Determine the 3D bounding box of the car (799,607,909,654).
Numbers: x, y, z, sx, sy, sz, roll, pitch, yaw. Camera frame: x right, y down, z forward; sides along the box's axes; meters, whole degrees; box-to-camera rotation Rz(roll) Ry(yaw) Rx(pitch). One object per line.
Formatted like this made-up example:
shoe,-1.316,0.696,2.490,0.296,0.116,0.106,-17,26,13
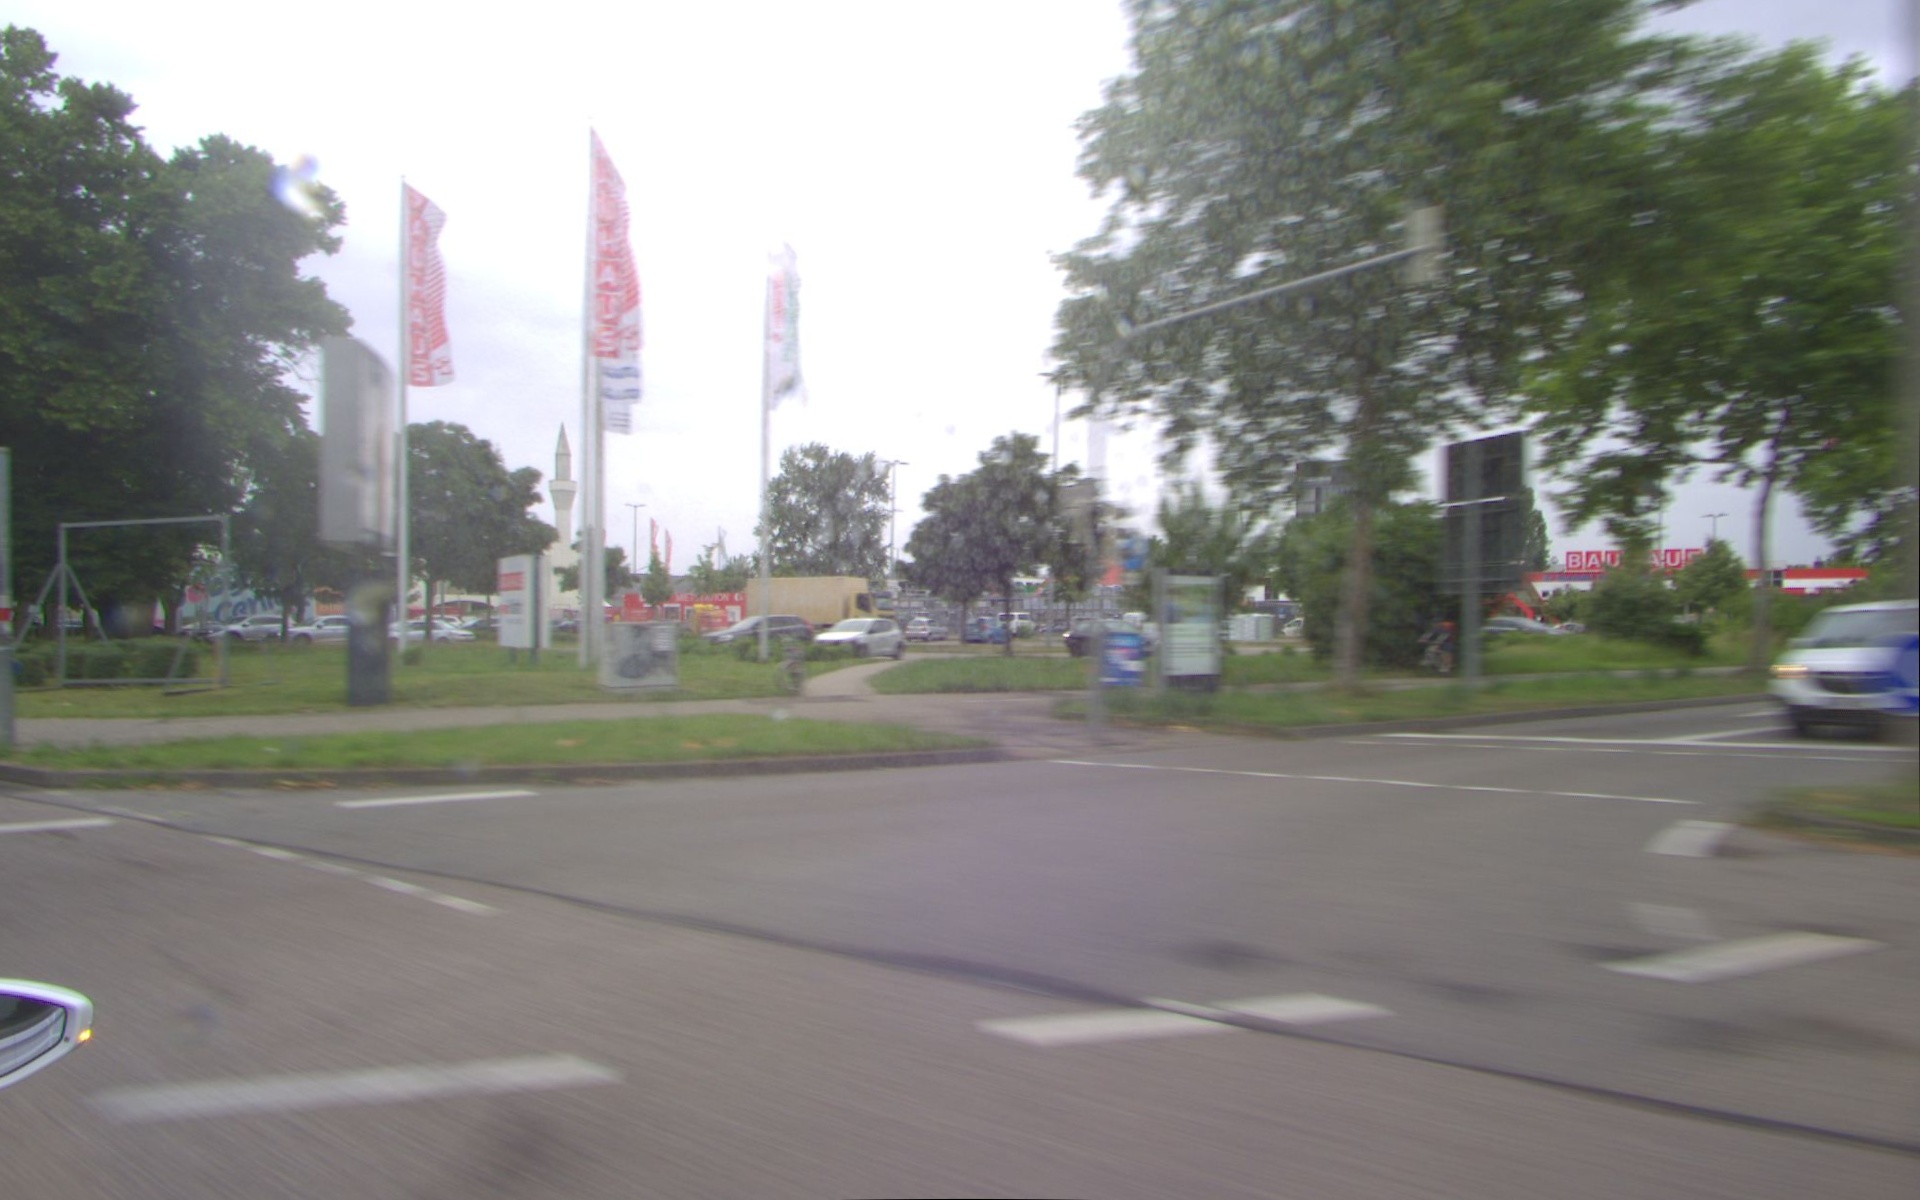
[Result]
car,-3.532,1.083,34.276,1.899,1.515,4.226,0,-3,23

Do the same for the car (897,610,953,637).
car,-2.289,1.503,66.158,2.118,1.699,4.558,0,-1,21

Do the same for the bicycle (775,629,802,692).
bicycle,-3.332,1.145,19.415,0.479,1.132,1.806,0,0,-10

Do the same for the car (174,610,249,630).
car,-61.563,1.606,82.426,2.040,1.592,4.551,0,-1,27

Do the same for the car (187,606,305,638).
car,-36.086,1.149,50.764,1.927,1.515,4.537,0,-3,23

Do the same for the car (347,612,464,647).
car,-25.288,1.381,45.835,1.899,1.515,4.450,0,-3,22

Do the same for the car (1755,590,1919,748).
car,12.801,0.861,13.432,4.358,1.851,1.871,1,-2,-30

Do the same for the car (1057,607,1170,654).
car,5.307,1.107,35.076,1.799,1.515,4.219,2,-3,-27

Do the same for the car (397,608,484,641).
car,-27.911,1.317,53.797,4.437,1.691,1.993,-1,-3,29

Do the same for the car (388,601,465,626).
car,-37.522,0.919,70.552,2.119,1.699,4.557,0,-1,22

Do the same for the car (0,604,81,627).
car,-66.259,1.124,71.733,2.040,1.592,4.551,0,-1,27

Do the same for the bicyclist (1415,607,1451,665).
bicyclist,12.749,0.972,27.012,0.745,1.540,0.582,0,0,14

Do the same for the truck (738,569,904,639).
truck,-7.805,0.308,55.698,9.103,3.608,2.940,-1,-3,27

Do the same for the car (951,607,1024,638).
car,1.493,1.149,51.587,1.956,1.526,4.550,0,-1,28

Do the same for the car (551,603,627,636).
car,-23.869,1.257,64.669,2.119,2.078,4.557,0,-1,22

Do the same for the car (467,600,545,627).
car,-30.203,0.886,66.769,2.119,1.699,4.557,0,-1,22

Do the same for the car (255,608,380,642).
car,-30.983,1.252,48.452,2.135,1.515,4.678,0,-3,25

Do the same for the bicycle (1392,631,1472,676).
bicycle,12.711,1.422,27.026,1.859,1.164,0.582,0,0,14

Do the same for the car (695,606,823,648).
car,-7.807,1.091,39.189,4.566,1.516,1.915,3,-3,-41
